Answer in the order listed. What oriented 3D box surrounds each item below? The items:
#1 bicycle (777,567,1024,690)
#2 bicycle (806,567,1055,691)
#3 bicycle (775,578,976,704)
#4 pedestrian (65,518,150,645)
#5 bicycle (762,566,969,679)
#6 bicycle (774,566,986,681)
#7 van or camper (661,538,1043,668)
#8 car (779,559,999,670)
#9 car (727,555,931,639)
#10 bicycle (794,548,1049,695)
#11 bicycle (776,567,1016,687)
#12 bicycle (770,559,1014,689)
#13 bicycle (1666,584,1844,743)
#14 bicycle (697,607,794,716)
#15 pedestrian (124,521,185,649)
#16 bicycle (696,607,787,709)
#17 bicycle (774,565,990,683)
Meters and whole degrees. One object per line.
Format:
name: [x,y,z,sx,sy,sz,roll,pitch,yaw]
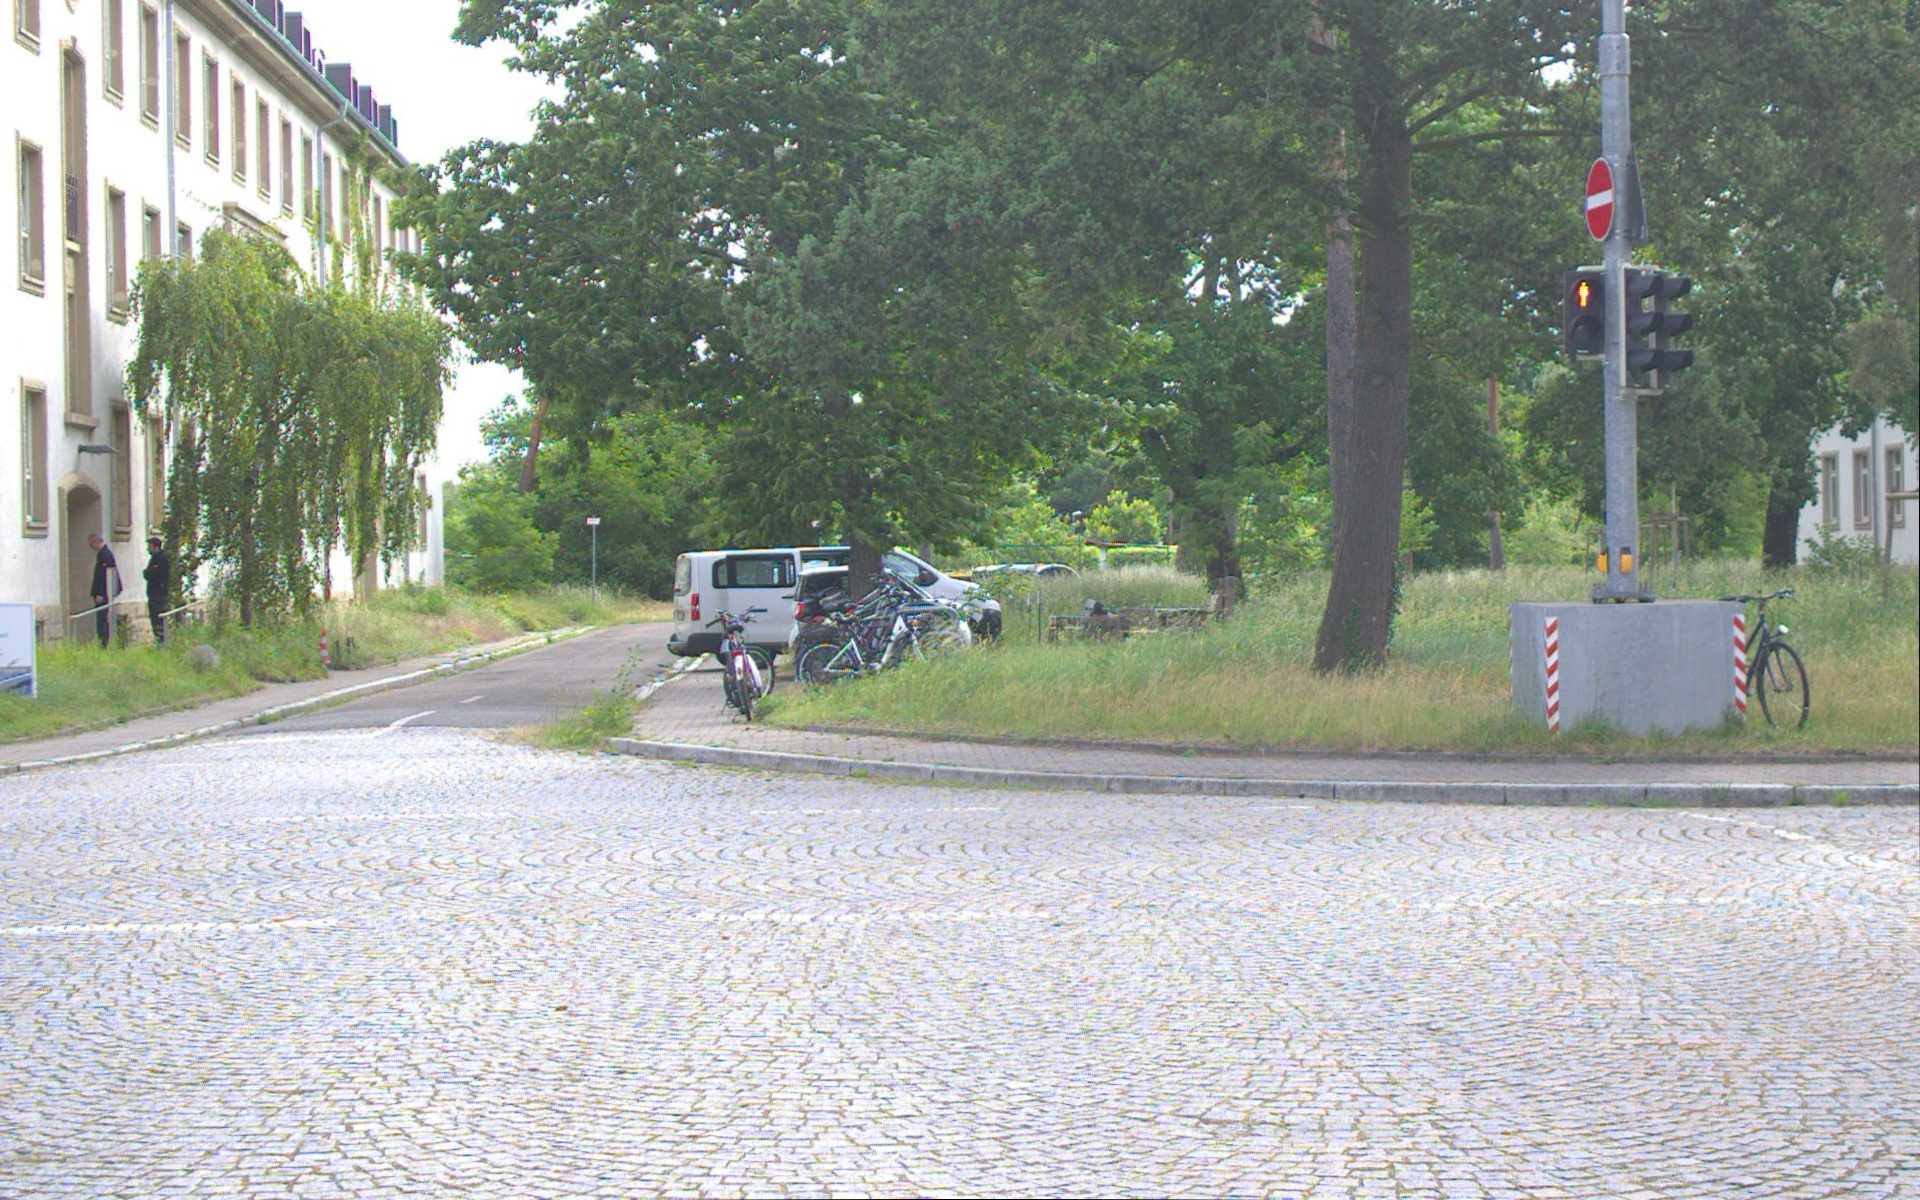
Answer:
bicycle: [-0.702,0.317,39.872,2.802,1.367,0.951,-1,0,-3]
bicycle: [-0.353,0.321,39.349,2.802,1.367,0.951,-1,0,-3]
bicycle: [-0.916,0.433,36.918,2.112,1.302,0.874,-1,0,-3]
pedestrian: [-12.796,-0.275,51.654,1.194,1.863,1.550,0,0,-12]
bicycle: [-1.204,0.277,43.392,2.567,1.367,0.951,-1,0,-3]
bicycle: [-1.005,0.280,42.560,2.567,1.367,0.951,-1,0,-3]
van or camper: [-1.746,0.027,55.017,5.740,1.951,2.238,-1,1,-14]
car: [-1.087,0.217,51.525,3.224,1.615,1.938,0,0,-3]
car: [-2.637,-0.076,68.824,3.986,1.594,1.704,-1,0,-4]
bicycle: [-0.444,0.228,38.414,2.802,1.578,0.951,-1,0,-3]
bicycle: [-0.769,0.315,40.764,2.802,1.367,0.951,-1,0,-3]
bicycle: [-0.754,0.257,37.534,2.619,1.362,0.874,-1,0,-3]
bicycle: [5.763,0.439,25.031,0.644,1.059,1.834,-5,1,-5]
bicycle: [-2.083,0.587,33.499,0.900,0.993,1.979,-1,1,-3]
pedestrian: [-12.356,-0.229,52.724,0.865,1.925,0.837,1,0,-14]
bicycle: [-2.245,0.582,35.588,0.727,0.993,1.978,-1,1,2]
bicycle: [-0.956,0.283,41.721,2.567,1.367,0.951,-1,0,-3]
